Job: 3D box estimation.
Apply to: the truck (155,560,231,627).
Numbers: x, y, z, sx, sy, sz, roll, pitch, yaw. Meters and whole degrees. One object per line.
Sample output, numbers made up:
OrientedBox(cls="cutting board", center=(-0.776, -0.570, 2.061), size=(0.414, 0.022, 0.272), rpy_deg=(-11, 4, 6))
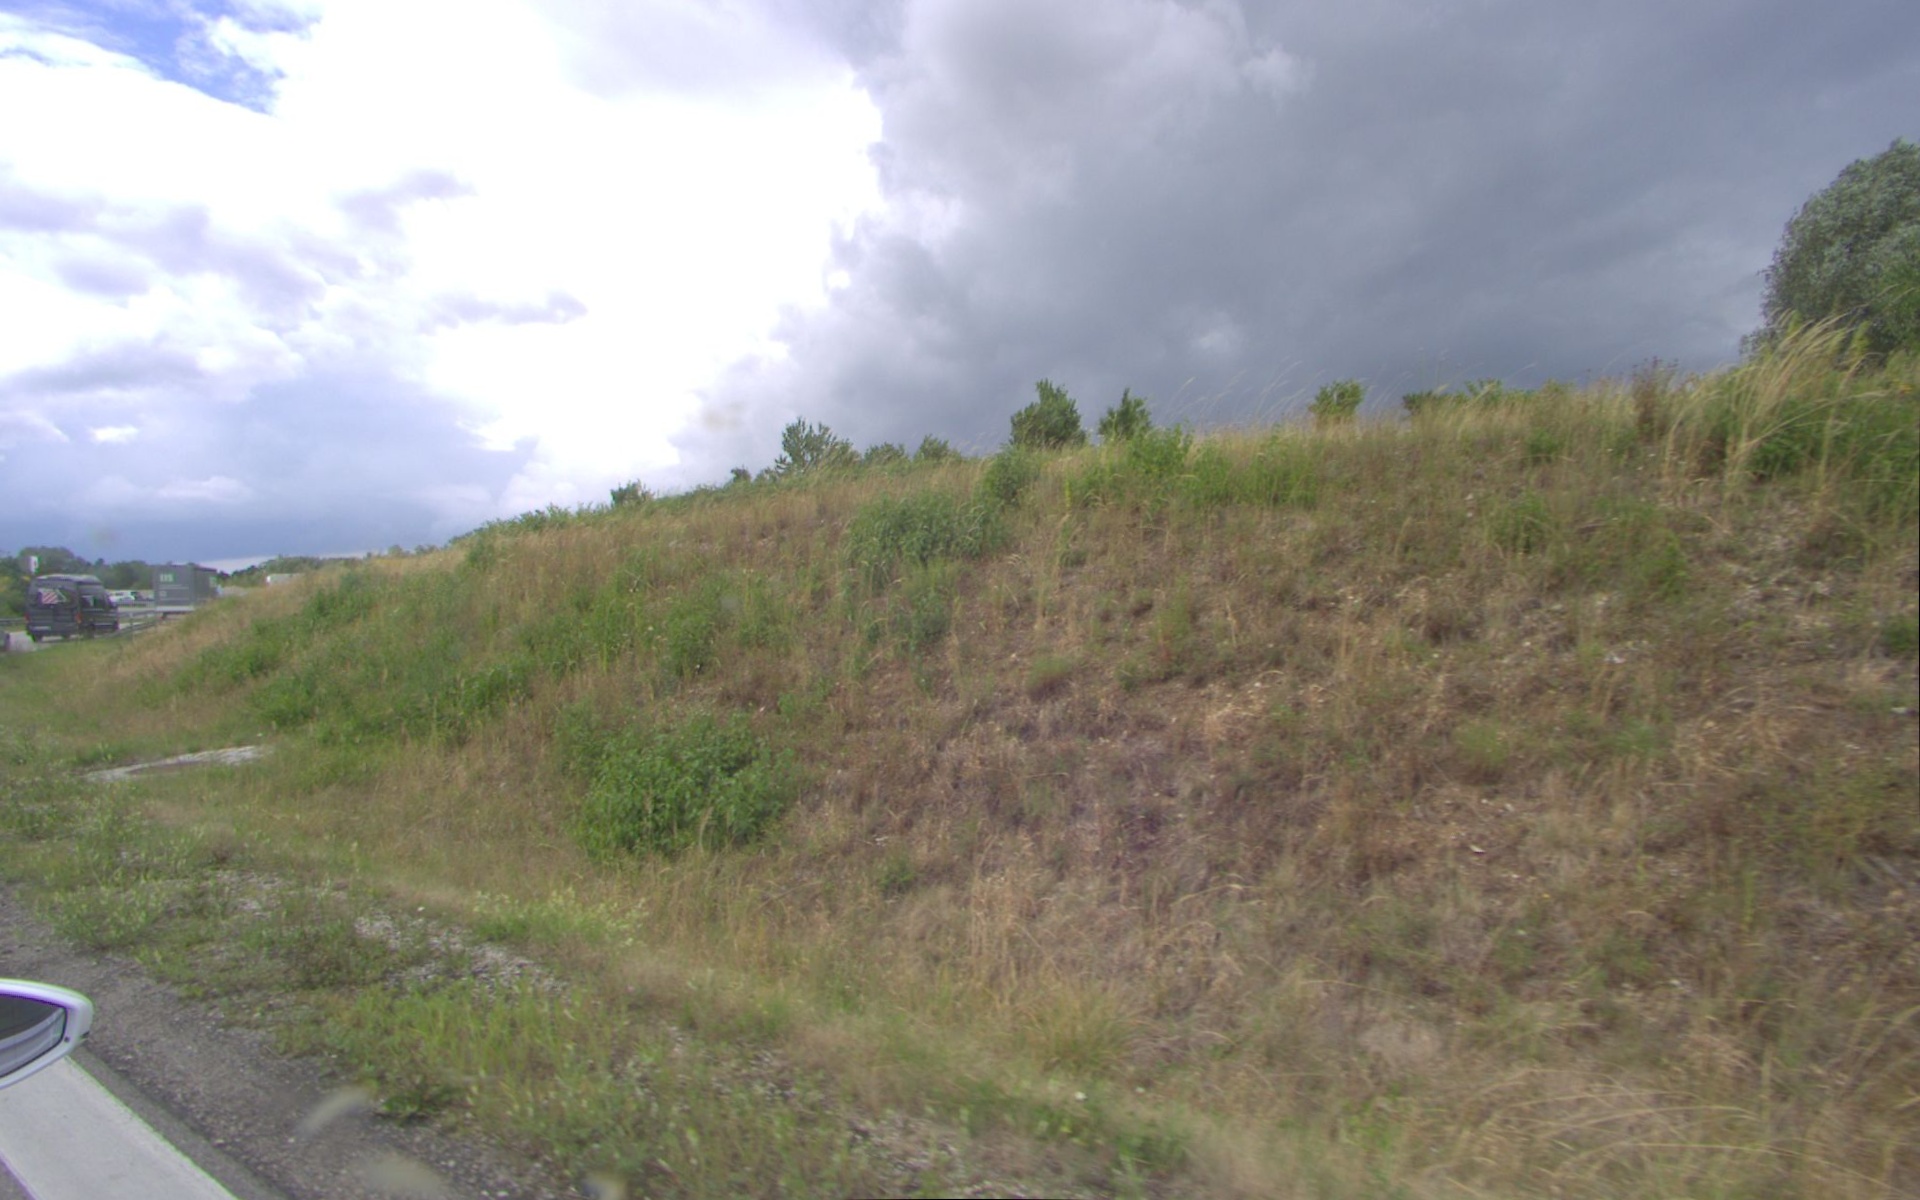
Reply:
OrientedBox(cls="truck", center=(-48.888, -0.328, 63.986), size=(2.198, 3.955, 6.003), rpy_deg=(0, -2, -21))

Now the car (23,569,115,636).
OrientedBox(cls="car", center=(-39.744, 0.182, 44.776), size=(2.080, 2.832, 3.984), rpy_deg=(1, -2, -27))

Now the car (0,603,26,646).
OrientedBox(cls="car", center=(-34.981, 0.882, 35.422), size=(1.844, 1.529, 3.983), rpy_deg=(0, -2, -28))
